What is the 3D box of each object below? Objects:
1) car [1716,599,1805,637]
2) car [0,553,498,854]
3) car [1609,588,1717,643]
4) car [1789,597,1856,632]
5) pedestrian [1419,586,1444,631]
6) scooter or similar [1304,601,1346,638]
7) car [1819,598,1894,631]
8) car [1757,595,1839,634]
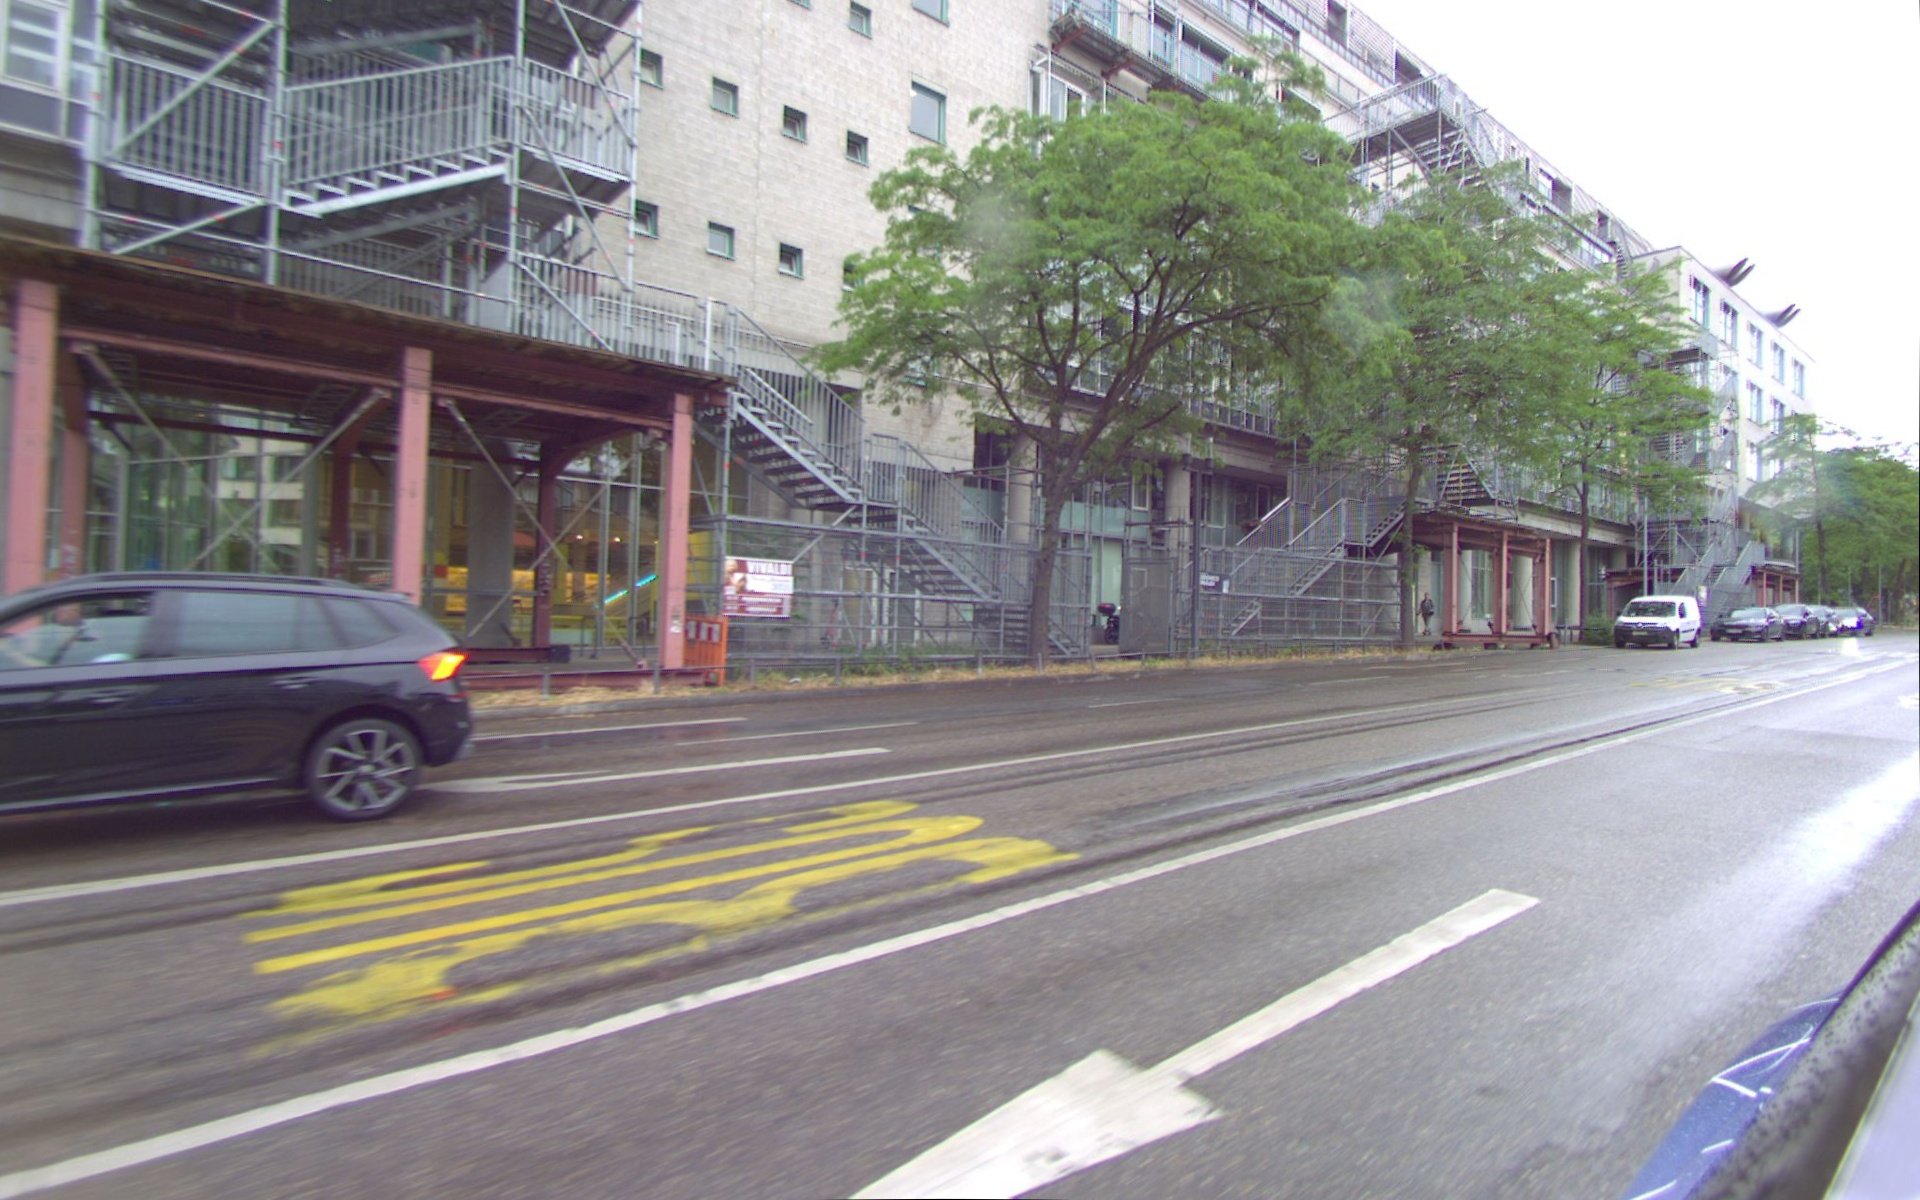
[{"bbox_3d":[33.281,0.743,42.024,4.831,1.455,1.873,1,0,-39],"label":"car"},{"bbox_3d":[-5.222,0.525,6.166,4.071,1.559,1.783,0,0,-39],"label":"car"},{"bbox_3d":[24.245,0.492,34.842,4.447,1.772,1.997,1,0,-41],"label":"car"},{"bbox_3d":[42.419,0.685,49.736,4.512,1.621,1.865,1,0,-41],"label":"car"},{"bbox_3d":[18.699,0.313,40.164,0.641,1.764,0.678,1,0,-38],"label":"pedestrian"},{"bbox_3d":[11.824,0.618,32.777,1.520,1.176,0.632,1,0,-41],"label":"scooter or similar"},{"bbox_3d":[47.142,0.734,53.160,5.191,1.621,1.999,1,0,-38],"label":"car"},{"bbox_3d":[38.388,0.633,46.326,4.774,1.667,1.998,1,0,-39],"label":"car"}]
